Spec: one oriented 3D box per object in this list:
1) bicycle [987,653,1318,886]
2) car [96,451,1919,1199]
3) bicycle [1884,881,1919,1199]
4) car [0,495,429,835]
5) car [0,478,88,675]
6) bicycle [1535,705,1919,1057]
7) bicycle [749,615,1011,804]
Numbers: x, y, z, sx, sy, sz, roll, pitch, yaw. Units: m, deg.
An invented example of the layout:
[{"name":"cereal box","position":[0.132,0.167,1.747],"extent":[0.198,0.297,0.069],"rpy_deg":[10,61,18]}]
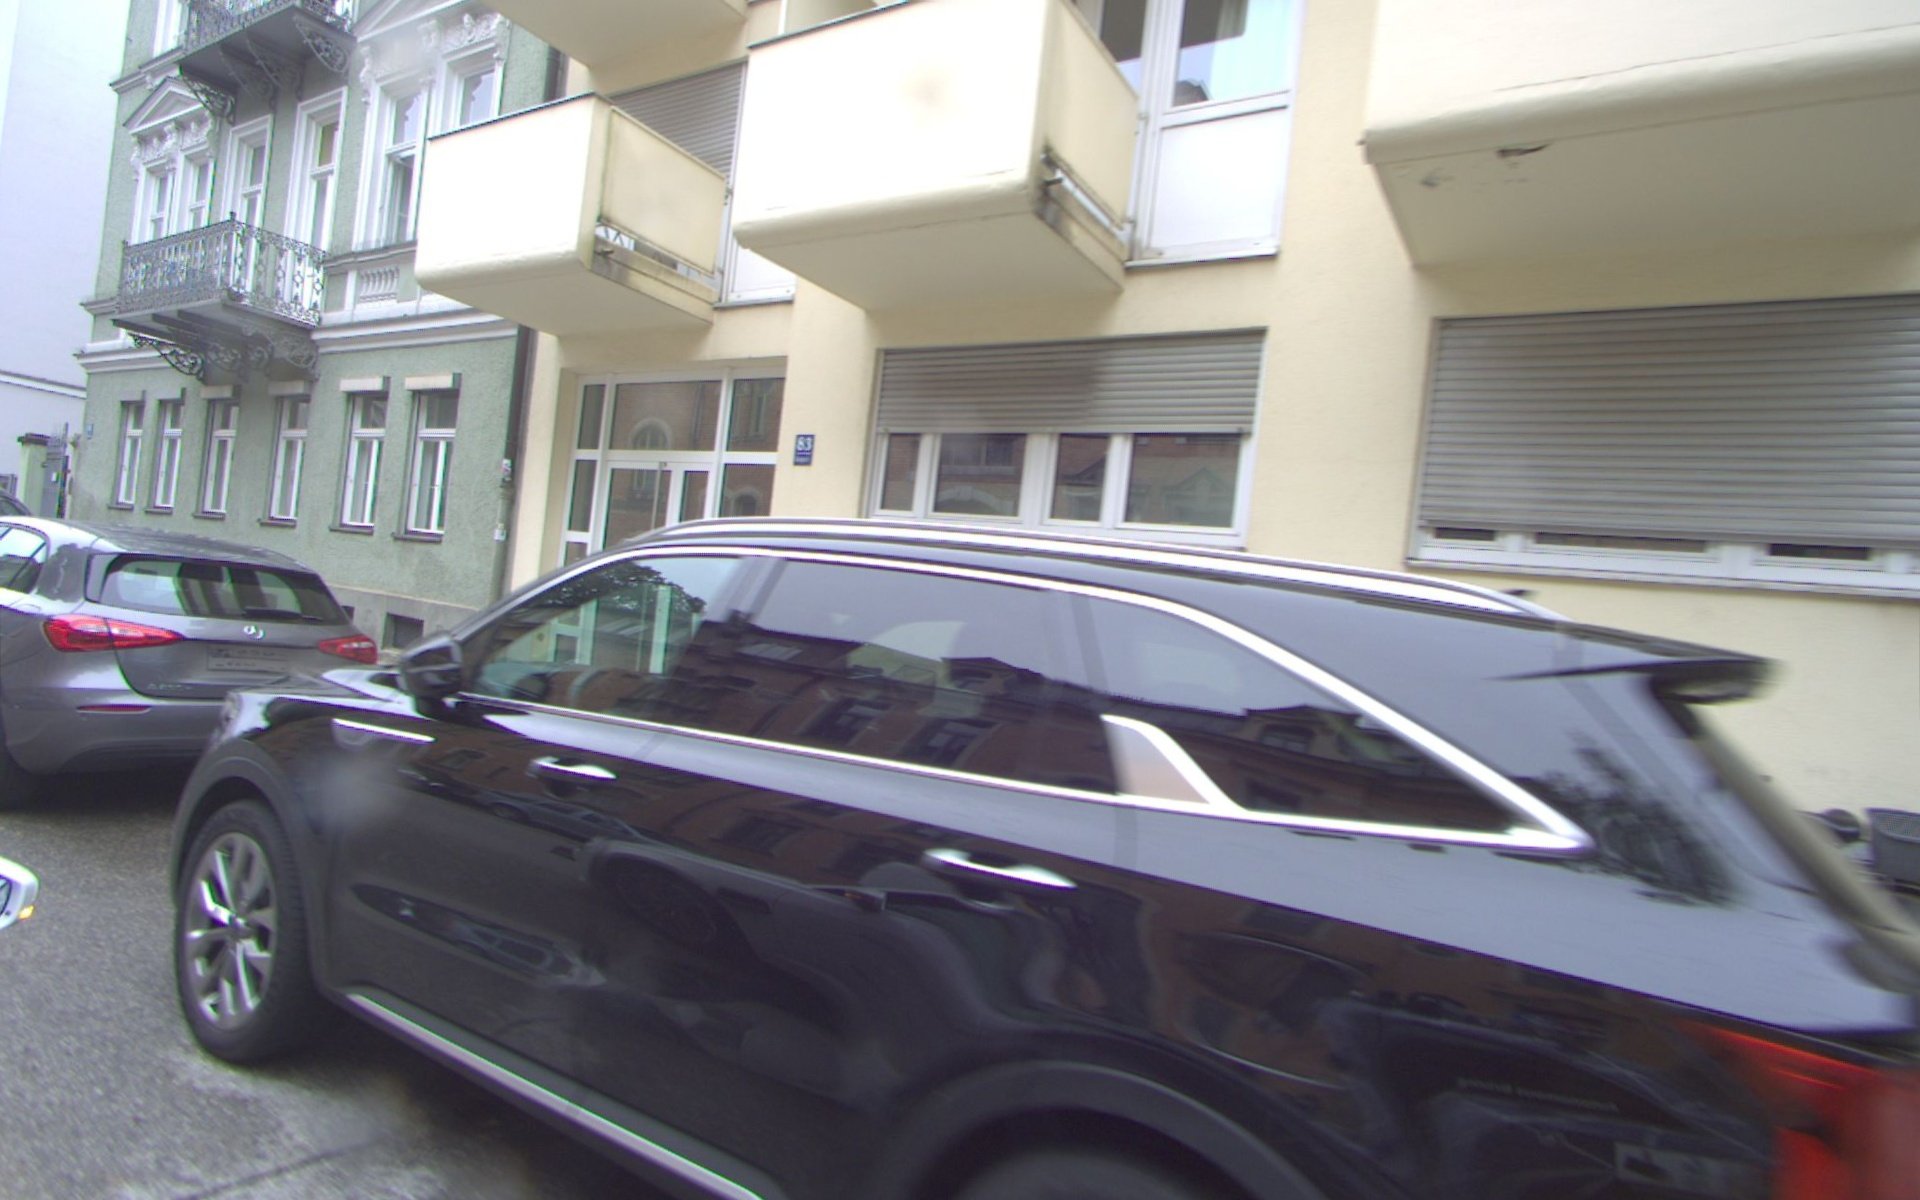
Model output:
[{"name":"bicycle","position":[1.153,0.964,6.158],"extent":[1.805,1.067,0.581],"rpy_deg":[6,0,28]},{"name":"car","position":[-0.382,0.599,2.897],"extent":[4.475,1.659,1.852],"rpy_deg":[6,0,32]},{"name":"bicycle","position":[3.322,1.218,2.078],"extent":[1.933,1.168,0.579],"rpy_deg":[6,0,36]},{"name":"car","position":[-5.477,0.189,6.303],"extent":[4.343,1.476,1.731],"rpy_deg":[6,-2,32]},{"name":"car","position":[-9.872,-0.417,8.900],"extent":[4.675,1.570,1.862],"rpy_deg":[6,0,32]},{"name":"bicycle","position":[3.680,1.210,4.542],"extent":[1.732,1.221,0.689],"rpy_deg":[6,0,27]},{"name":"bicycle","position":[-0.590,0.735,7.190],"extent":[1.732,1.067,0.581],"rpy_deg":[6,0,28]}]
